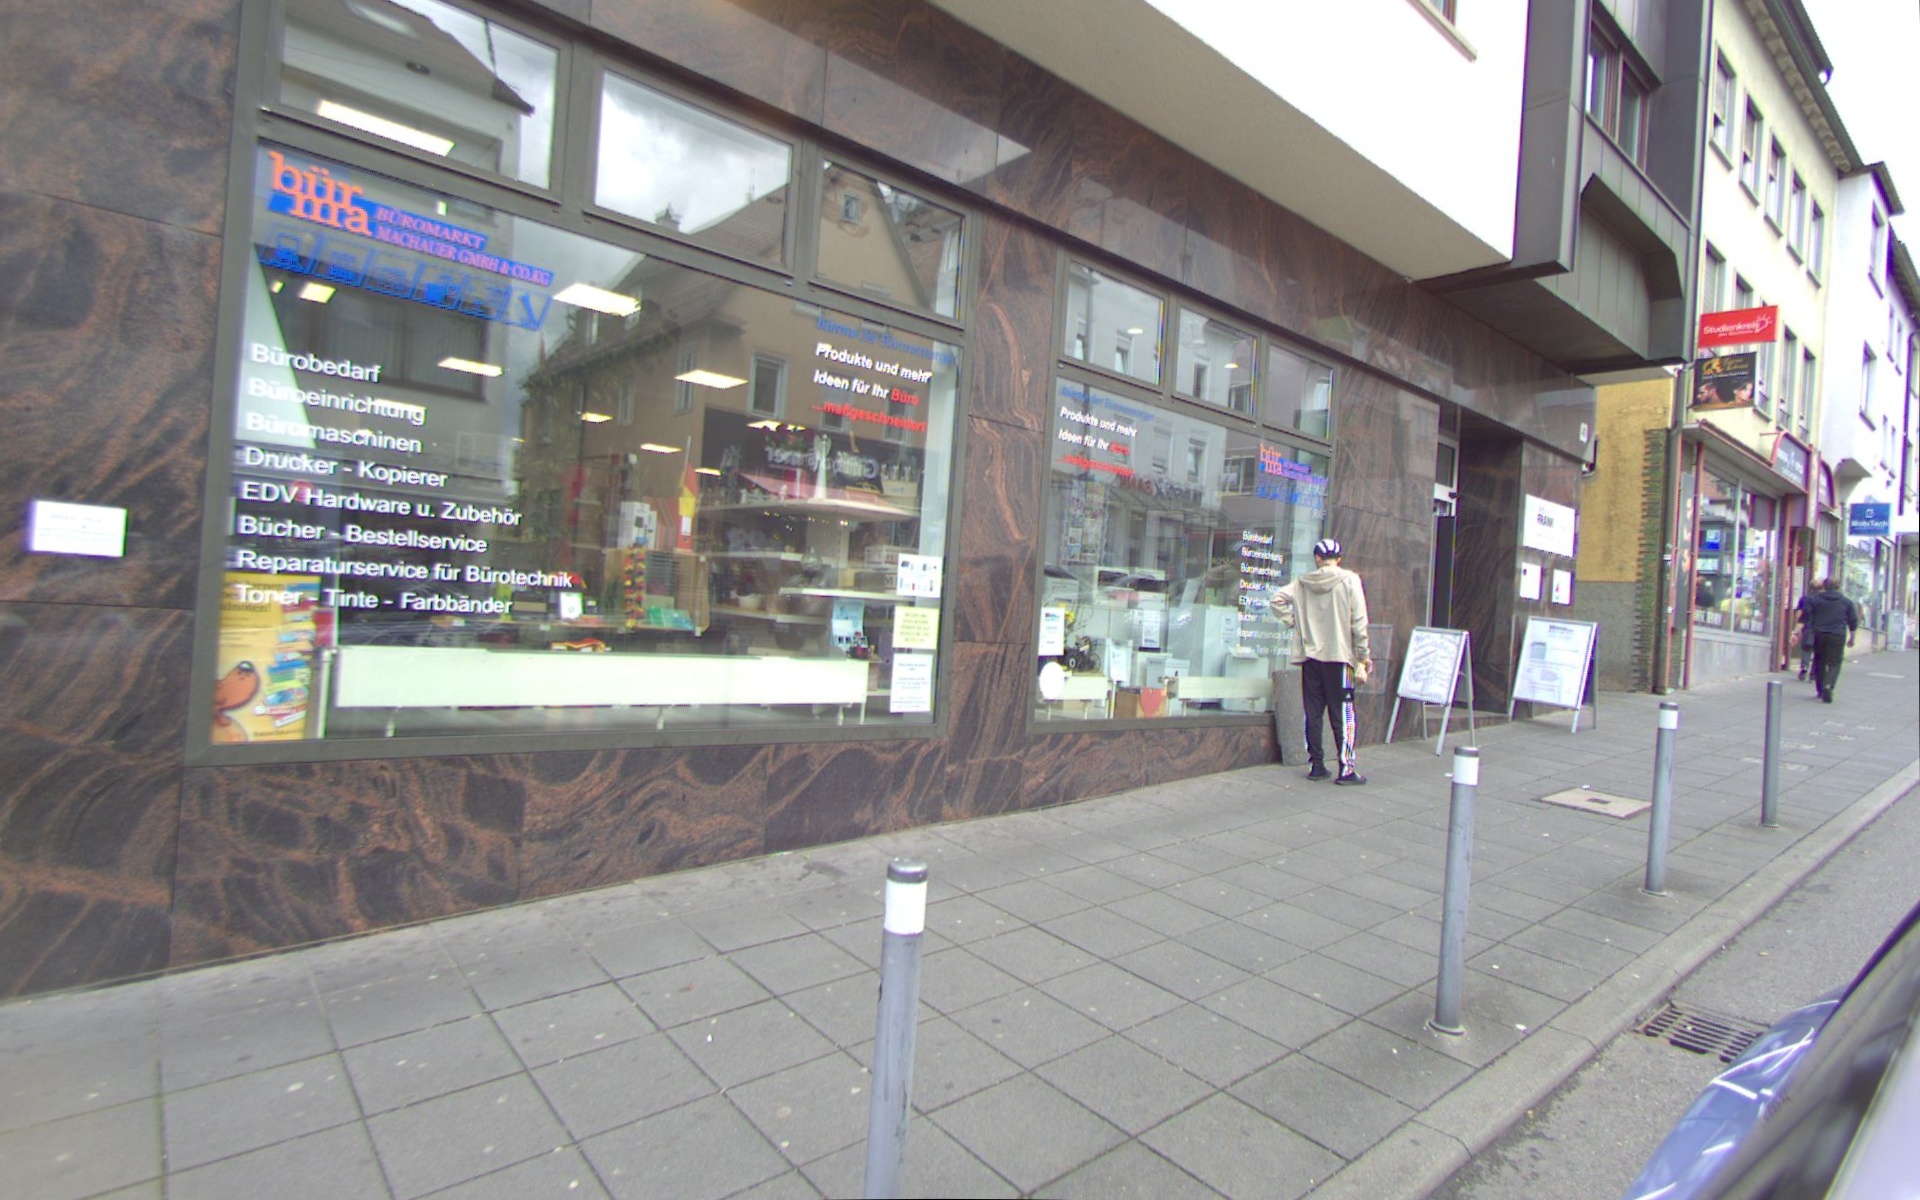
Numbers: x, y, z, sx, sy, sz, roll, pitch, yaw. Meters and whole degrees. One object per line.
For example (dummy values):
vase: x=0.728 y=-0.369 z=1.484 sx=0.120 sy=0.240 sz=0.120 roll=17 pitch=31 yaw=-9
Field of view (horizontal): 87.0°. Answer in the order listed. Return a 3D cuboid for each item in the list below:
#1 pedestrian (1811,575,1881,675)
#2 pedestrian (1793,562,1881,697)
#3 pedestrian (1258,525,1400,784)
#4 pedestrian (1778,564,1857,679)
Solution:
pedestrian: x=15.442 y=0.423 z=17.640 sx=0.820 sy=1.651 sz=0.713 roll=1 pitch=3 yaw=-40
pedestrian: x=12.094 y=0.387 z=13.963 sx=0.773 sy=1.774 sz=0.713 roll=1 pitch=3 yaw=-40
pedestrian: x=2.612 y=0.350 z=7.170 sx=0.663 sy=1.709 sz=0.535 roll=7 pitch=4 yaw=44
pedestrian: x=14.059 y=0.334 z=16.599 sx=0.771 sy=1.773 sz=0.713 roll=1 pitch=5 yaw=-40
